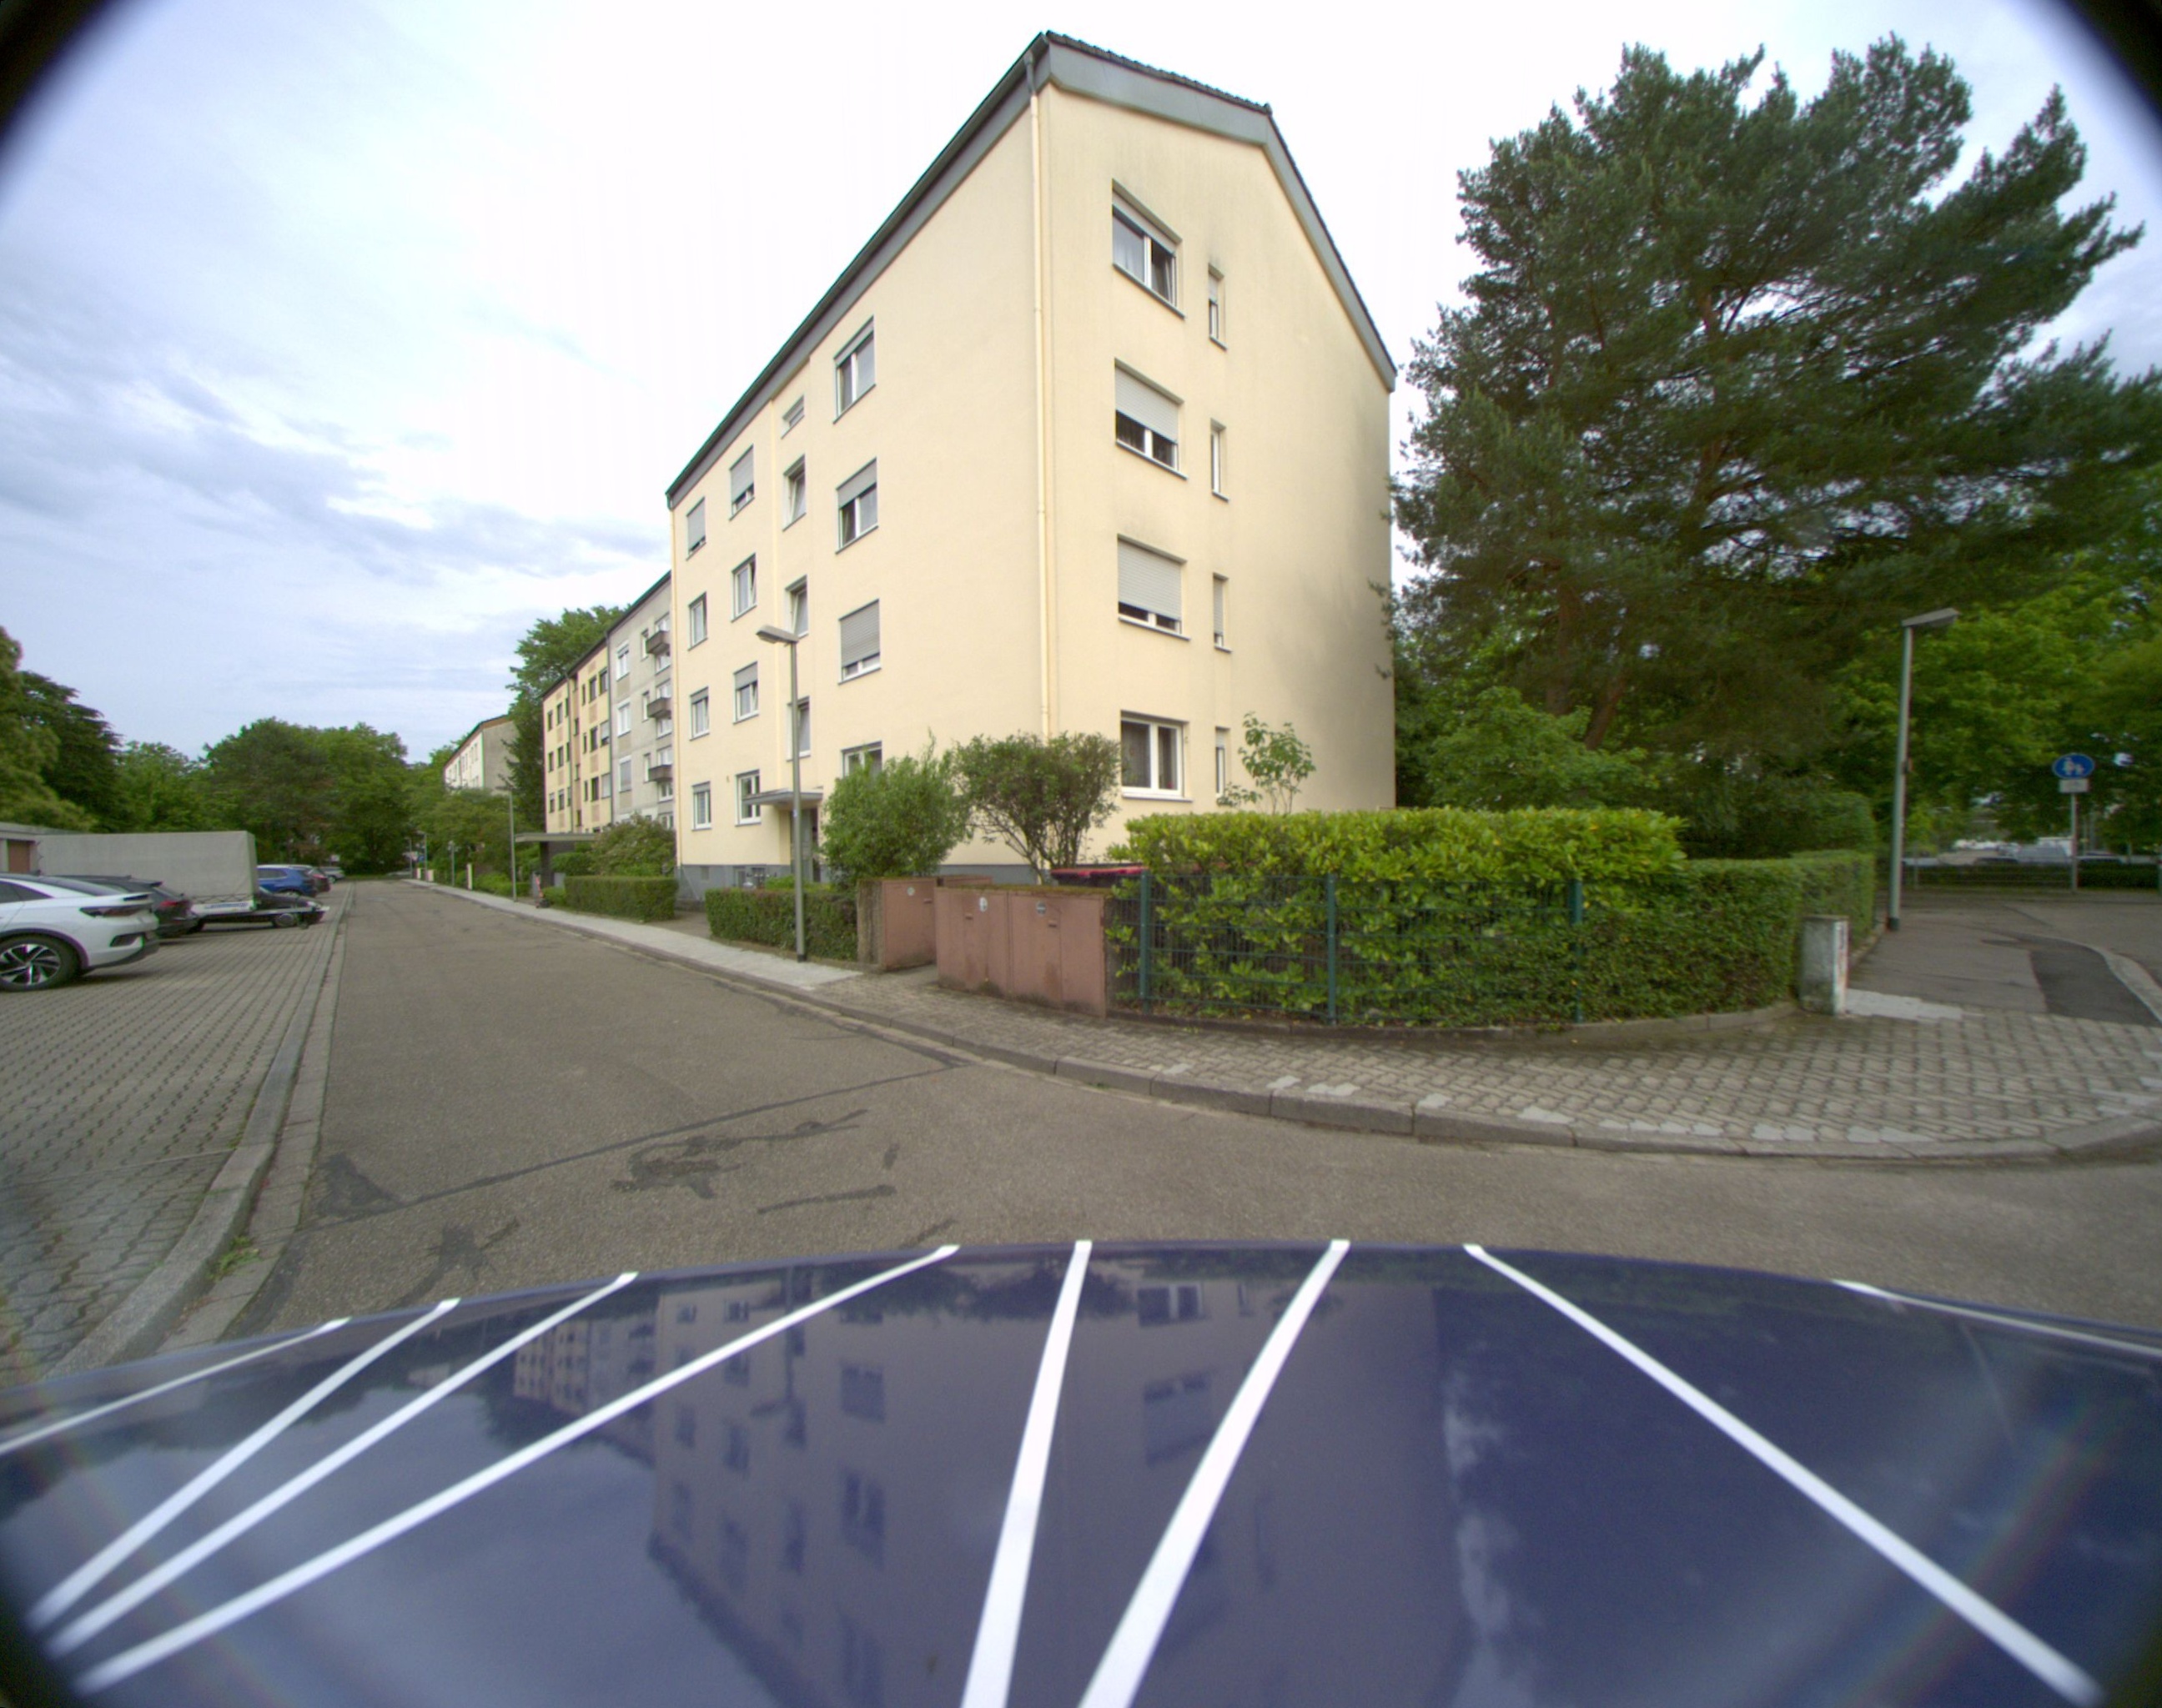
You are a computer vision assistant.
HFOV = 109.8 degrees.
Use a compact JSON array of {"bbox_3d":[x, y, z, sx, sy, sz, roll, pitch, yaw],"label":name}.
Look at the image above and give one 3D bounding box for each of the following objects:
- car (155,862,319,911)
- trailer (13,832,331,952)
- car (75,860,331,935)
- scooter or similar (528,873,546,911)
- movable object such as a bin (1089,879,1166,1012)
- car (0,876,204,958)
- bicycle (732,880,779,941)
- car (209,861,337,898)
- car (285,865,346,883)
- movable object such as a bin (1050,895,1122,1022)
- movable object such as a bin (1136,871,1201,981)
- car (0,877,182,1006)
[{"bbox_3d":[-31.745,1.200,28.796,4.009,1.693,1.994,2,-2,-44],"label":"car"},{"bbox_3d":[-21.422,0.764,18.308,4.633,2.510,1.937,-2,1,-43],"label":"trailer"},{"bbox_3d":[-23.343,1.106,20.526,4.334,1.791,1.994,2,-2,-44],"label":"car"},{"bbox_3d":[-17.843,1.232,24.899,0.274,1.204,1.161,-2,0,-44],"label":"scooter or similar"},{"bbox_3d":[0.442,0.838,7.206,0.508,1.180,0.514,0,0,-45],"label":"movable object such as a bin"},{"bbox_3d":[-20.503,1.228,14.920,4.150,1.440,1.608,-1,0,-44],"label":"car"},{"bbox_3d":[-6.154,1.042,14.338,0.319,1.069,1.414,-3,2,-43],"label":"bicycle"},{"bbox_3d":[-39.568,1.257,37.386,4.218,1.717,1.994,2,-2,-44],"label":"car"},{"bbox_3d":[-74.803,1.958,74.327,4.115,1.636,1.782,-2,1,-45],"label":"car"},{"bbox_3d":[0.053,1.017,7.598,0.508,1.180,0.514,0,0,-45],"label":"movable object such as a bin"},{"bbox_3d":[0.987,0.785,8.575,0.508,1.180,0.514,0,0,-45],"label":"movable object such as a bin"},{"bbox_3d":[-15.176,1.171,9.663,4.561,1.579,1.982,-1,0,-42],"label":"car"}]
